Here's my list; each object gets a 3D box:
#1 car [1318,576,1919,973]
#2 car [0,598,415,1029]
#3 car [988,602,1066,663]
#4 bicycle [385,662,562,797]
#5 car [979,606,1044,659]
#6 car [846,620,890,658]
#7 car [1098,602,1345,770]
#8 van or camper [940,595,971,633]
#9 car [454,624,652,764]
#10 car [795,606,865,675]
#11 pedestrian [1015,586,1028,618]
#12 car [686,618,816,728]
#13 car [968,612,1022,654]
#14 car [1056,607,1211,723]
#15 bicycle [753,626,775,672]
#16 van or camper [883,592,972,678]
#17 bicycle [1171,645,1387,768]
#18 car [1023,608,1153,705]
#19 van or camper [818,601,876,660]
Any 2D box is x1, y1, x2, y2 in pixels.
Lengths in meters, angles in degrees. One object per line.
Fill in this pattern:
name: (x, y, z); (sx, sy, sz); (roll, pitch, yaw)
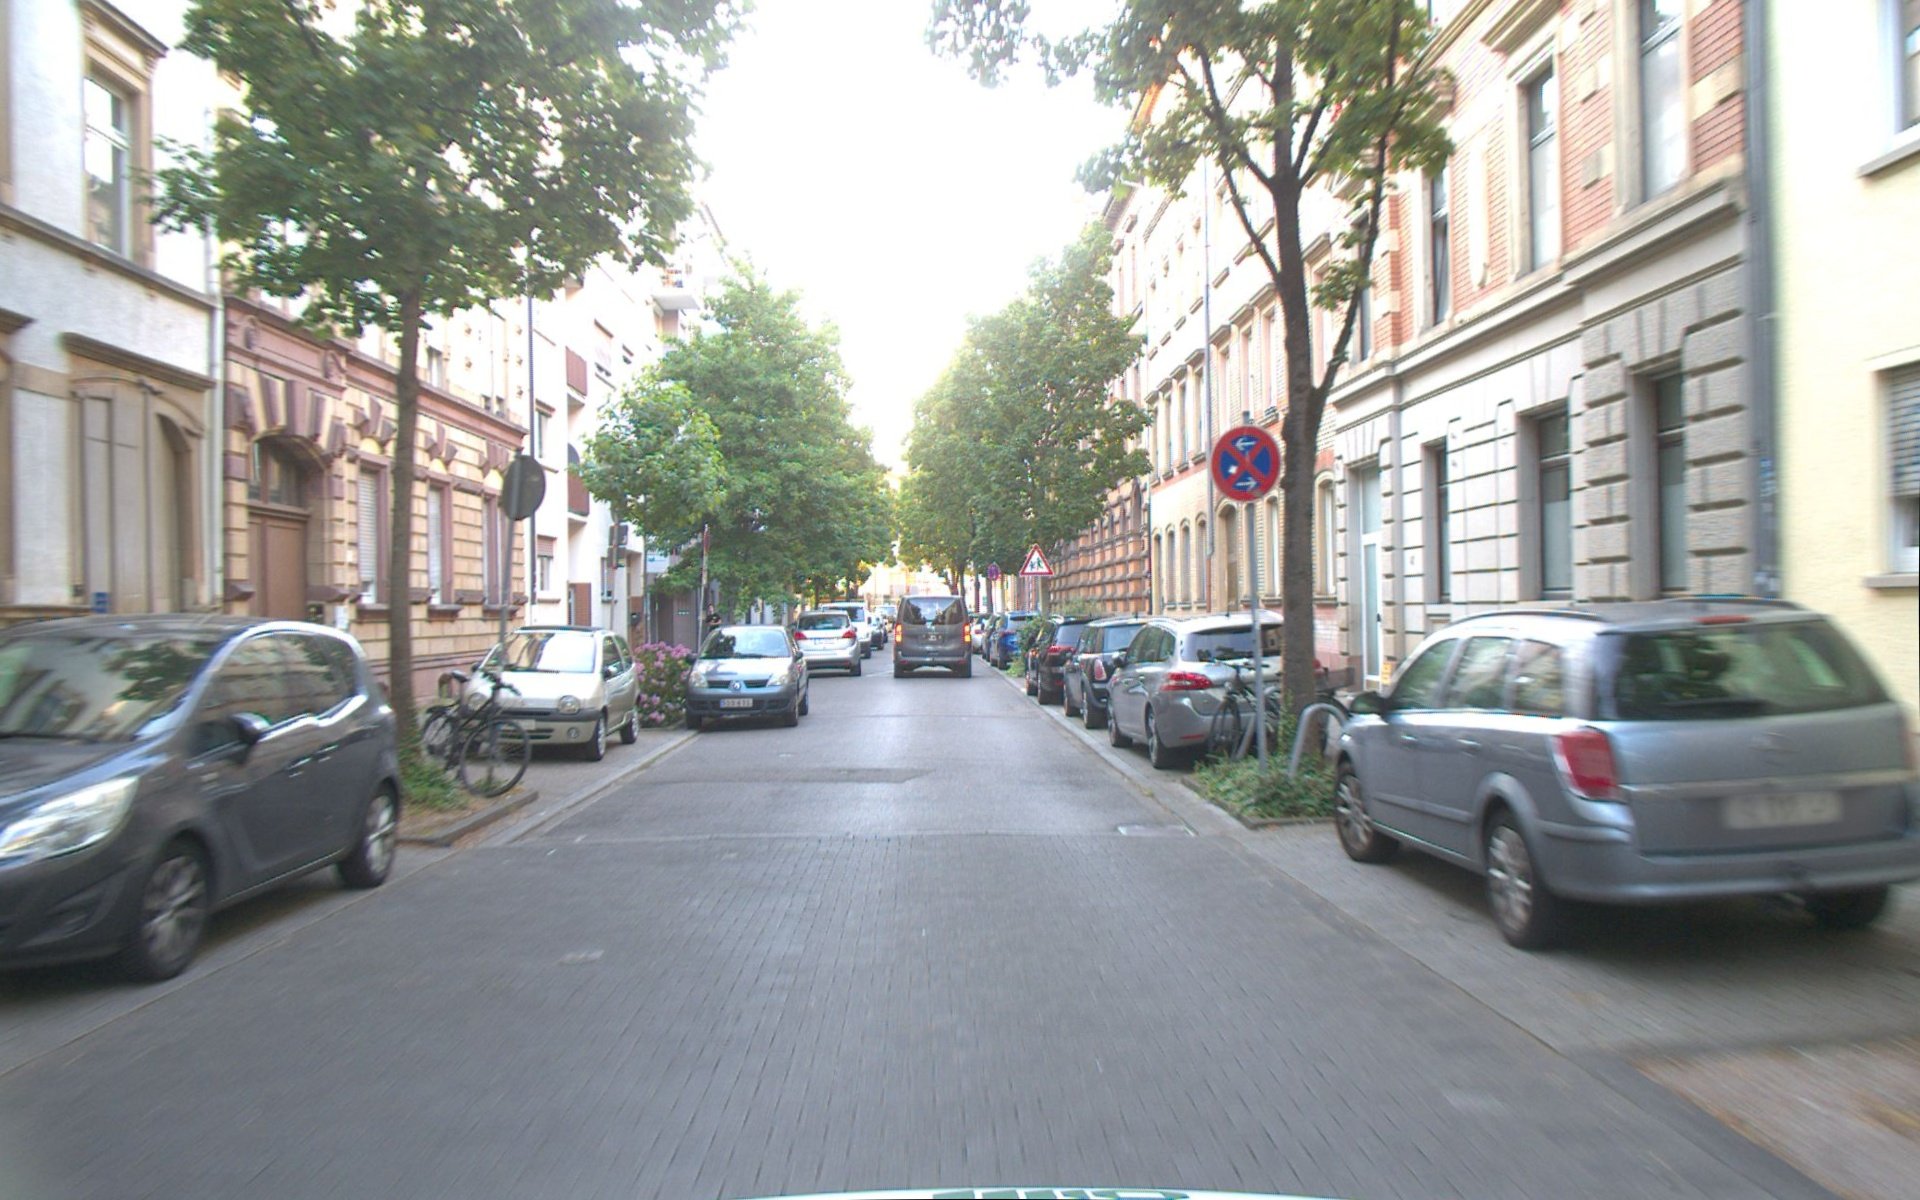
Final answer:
car: (3.284, 0.672, 8.582); (1.723, 1.488, 4.306); (-2, 0, -2)
car: (-4.204, 0.801, 8.246); (1.672, 1.608, 4.077); (0, 0, -1)
car: (1.736, 0.844, 44.023); (1.595, 1.492, 4.242); (-2, 0, -4)
bicycle: (-4.353, 1.119, 14.735); (1.795, 1.104, 0.665); (-2, -2, 41)
car: (1.558, 0.970, 50.893); (1.677, 1.503, 4.190); (-1, 0, -2)
car: (-3.944, 1.679, 71.424); (1.793, 1.544, 4.514); (-1, -1, -2)
car: (2.667, 0.822, 17.857); (1.683, 1.502, 4.365); (-3, 0, -3)
van or camper: (-0.379, 0.996, 120.001); (1.954, 2.644, 5.421); (-1, 0, -3)
car: (-4.693, 1.036, 19.530); (1.555, 1.462, 3.564); (0, 0, -2)
car: (-3.290, 0.986, 41.724); (1.631, 1.590, 3.996); (-2, 0, -5)
pedestrian: (3.248, 0.099, 87.237); (0.614, 1.677, 0.531); (-1, -1, -1)
car: (-3.043, 1.029, 24.645); (1.548, 1.445, 3.751); (-2, 0, -2)
car: (1.236, 1.175, 60.781); (1.660, 1.426, 4.644); (-2, 0, -2)
car: (2.383, 0.862, 23.458); (1.603, 1.449, 3.562); (-2, 0, -3)
bicycle: (-4.974, 1.241, 42.076); (0.411, 1.123, 1.664); (-1, -1, -2)
van or camper: (-0.734, 0.811, 39.981); (1.993, 1.931, 4.270); (-1, 0, 0)
bicycle: (2.891, 0.938, 14.963); (1.890, 0.999, 0.634); (-1, 0, -24)
car: (2.128, 0.914, 28.641); (1.731, 1.439, 4.472); (-3, 0, -1)
van or camper: (-3.873, 1.021, 56.970); (1.839, 1.875, 4.749); (-2, 0, -3)
